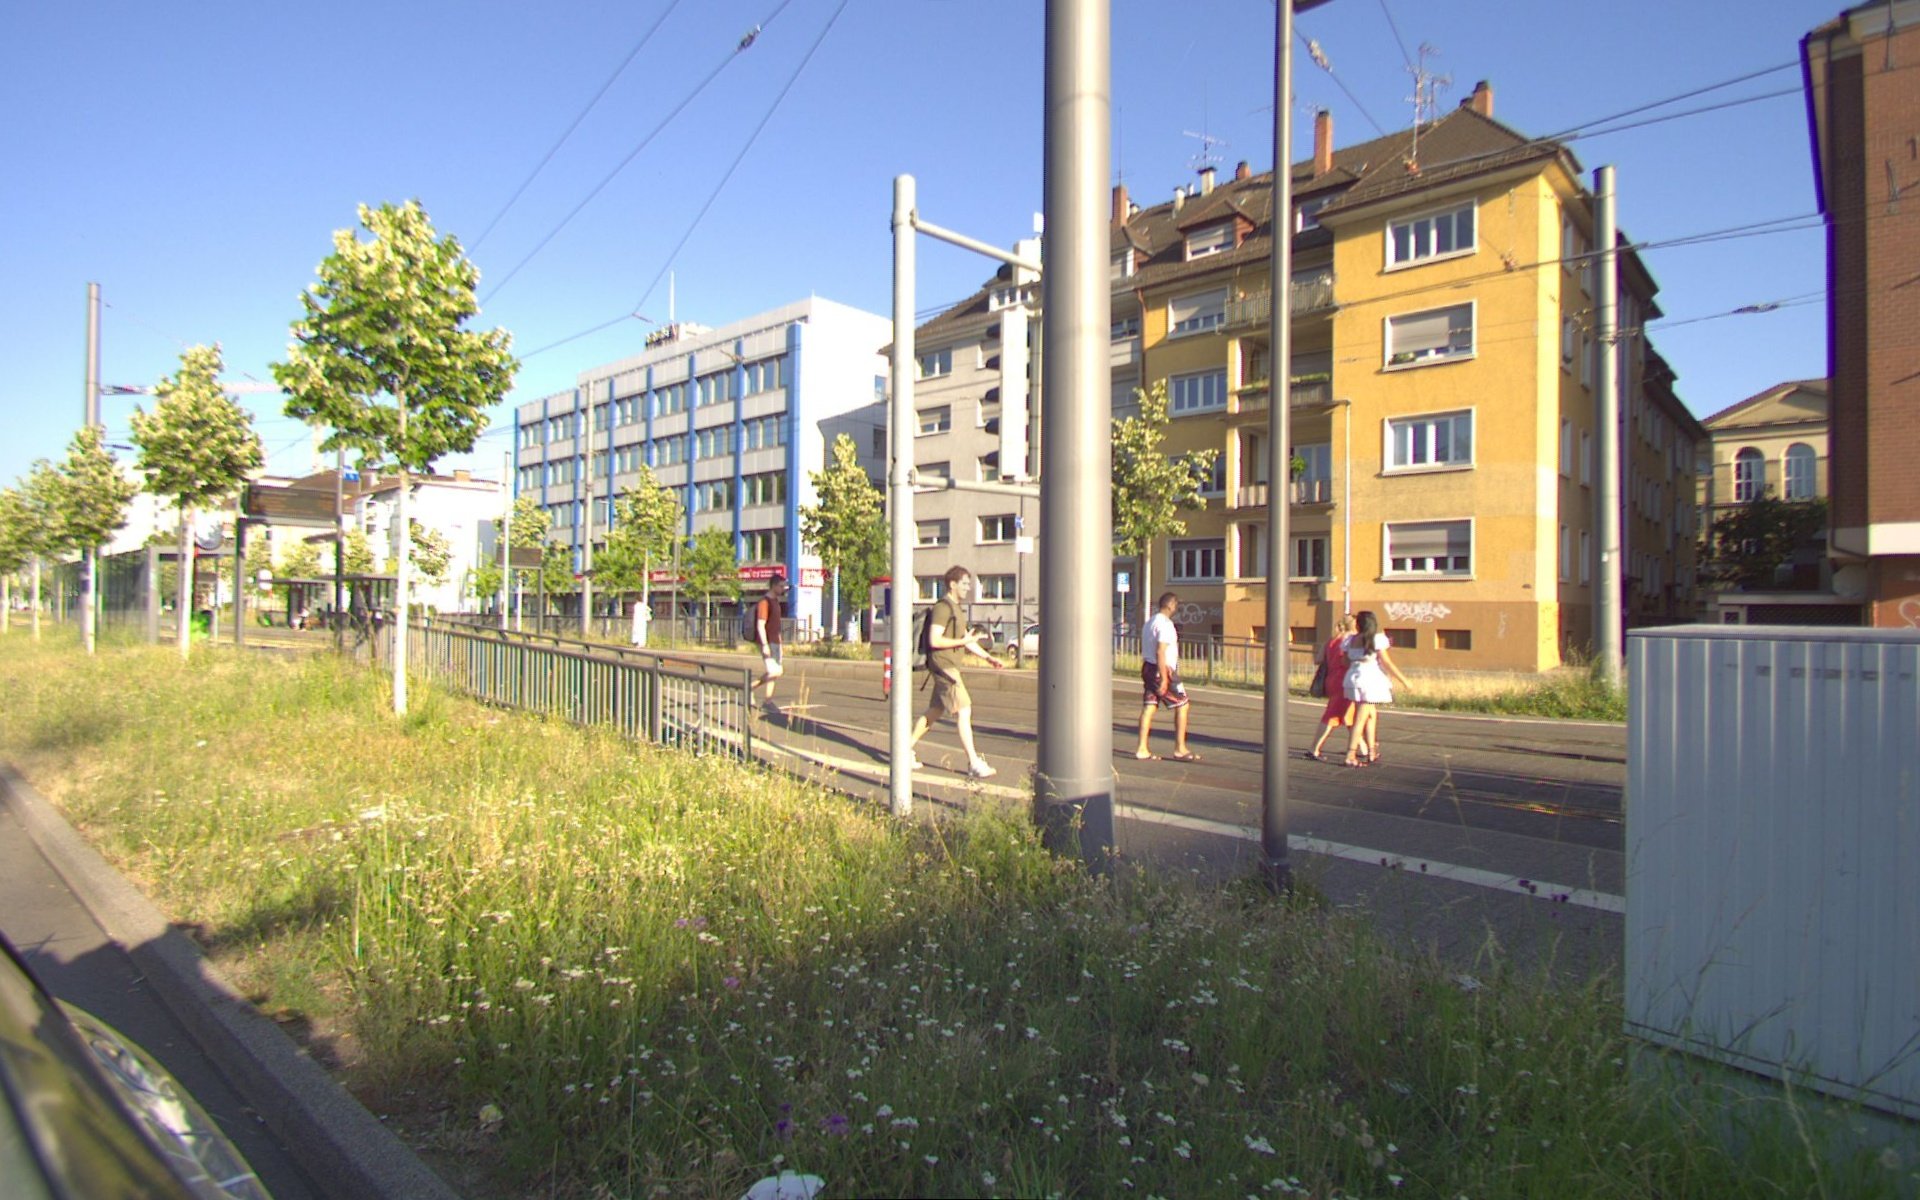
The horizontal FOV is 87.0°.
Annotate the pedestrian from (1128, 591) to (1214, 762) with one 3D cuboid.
[{"bbox_3d":[2.048,0.716,9.775,0.616,1.560,0.781,-1,-2,27],"label":"pedestrian"}]

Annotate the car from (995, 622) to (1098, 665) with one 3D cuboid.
[{"bbox_3d":[3.372,1.653,39.688,3.672,1.519,1.861,0,0,41],"label":"car"}]

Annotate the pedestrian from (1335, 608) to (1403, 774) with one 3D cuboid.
[{"bbox_3d":[3.766,0.813,9.359,0.520,1.467,0.634,0,0,18],"label":"pedestrian"}]

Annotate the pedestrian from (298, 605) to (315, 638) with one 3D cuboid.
[{"bbox_3d":[-34.409,1.112,53.289,0.650,1.705,0.773,-1,0,-43],"label":"pedestrian"}]

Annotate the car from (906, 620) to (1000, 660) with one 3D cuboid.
[{"bbox_3d":[-0.320,1.661,42.852,3.672,1.519,1.861,0,0,41],"label":"car"}]

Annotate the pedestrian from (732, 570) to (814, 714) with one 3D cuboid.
[{"bbox_3d":[-2.319,0.497,12.557,0.620,1.711,0.776,0,0,44],"label":"pedestrian"}]

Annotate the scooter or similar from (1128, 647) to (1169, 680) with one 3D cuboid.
[{"bbox_3d":[6.342,2.132,34.087,0.480,1.013,1.331,-1,0,-42],"label":"scooter or similar"}]

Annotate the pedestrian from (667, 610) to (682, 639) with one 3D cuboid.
[{"bbox_3d":[-17.388,1.498,61.599,0.636,1.759,0.599,-1,0,-42],"label":"pedestrian"}]

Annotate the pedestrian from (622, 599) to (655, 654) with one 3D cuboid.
[{"bbox_3d":[-9.942,0.802,31.330,0.620,1.685,0.776,0,0,44],"label":"pedestrian"}]

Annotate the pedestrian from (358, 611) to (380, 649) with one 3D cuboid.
[{"bbox_3d":[-27.143,1.375,46.505,0.771,1.705,0.651,0,0,39],"label":"pedestrian"}]

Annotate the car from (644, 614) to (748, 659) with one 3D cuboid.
[{"bbox_3d":[-9.802,1.305,37.510,3.941,1.519,1.861,0,0,41],"label":"car"}]

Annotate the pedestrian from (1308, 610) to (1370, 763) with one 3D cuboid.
[{"bbox_3d":[3.747,0.830,10.035,0.520,1.442,0.635,0,0,16],"label":"pedestrian"}]

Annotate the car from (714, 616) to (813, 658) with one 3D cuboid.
[{"bbox_3d":[-7.807,1.436,40.096,3.941,1.519,1.861,0,0,41],"label":"car"}]

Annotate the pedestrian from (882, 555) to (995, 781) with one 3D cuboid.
[{"bbox_3d":[-0.183,0.562,8.911,0.620,1.878,0.776,0,0,44],"label":"pedestrian"}]

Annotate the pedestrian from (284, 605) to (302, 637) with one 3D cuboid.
[{"bbox_3d":[-36.136,1.116,54.819,0.772,1.705,0.651,0,0,44],"label":"pedestrian"}]

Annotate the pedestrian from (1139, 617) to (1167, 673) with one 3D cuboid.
[{"bbox_3d":[6.500,1.505,34.062,0.553,1.861,0.724,-1,0,-42],"label":"pedestrian"}]
